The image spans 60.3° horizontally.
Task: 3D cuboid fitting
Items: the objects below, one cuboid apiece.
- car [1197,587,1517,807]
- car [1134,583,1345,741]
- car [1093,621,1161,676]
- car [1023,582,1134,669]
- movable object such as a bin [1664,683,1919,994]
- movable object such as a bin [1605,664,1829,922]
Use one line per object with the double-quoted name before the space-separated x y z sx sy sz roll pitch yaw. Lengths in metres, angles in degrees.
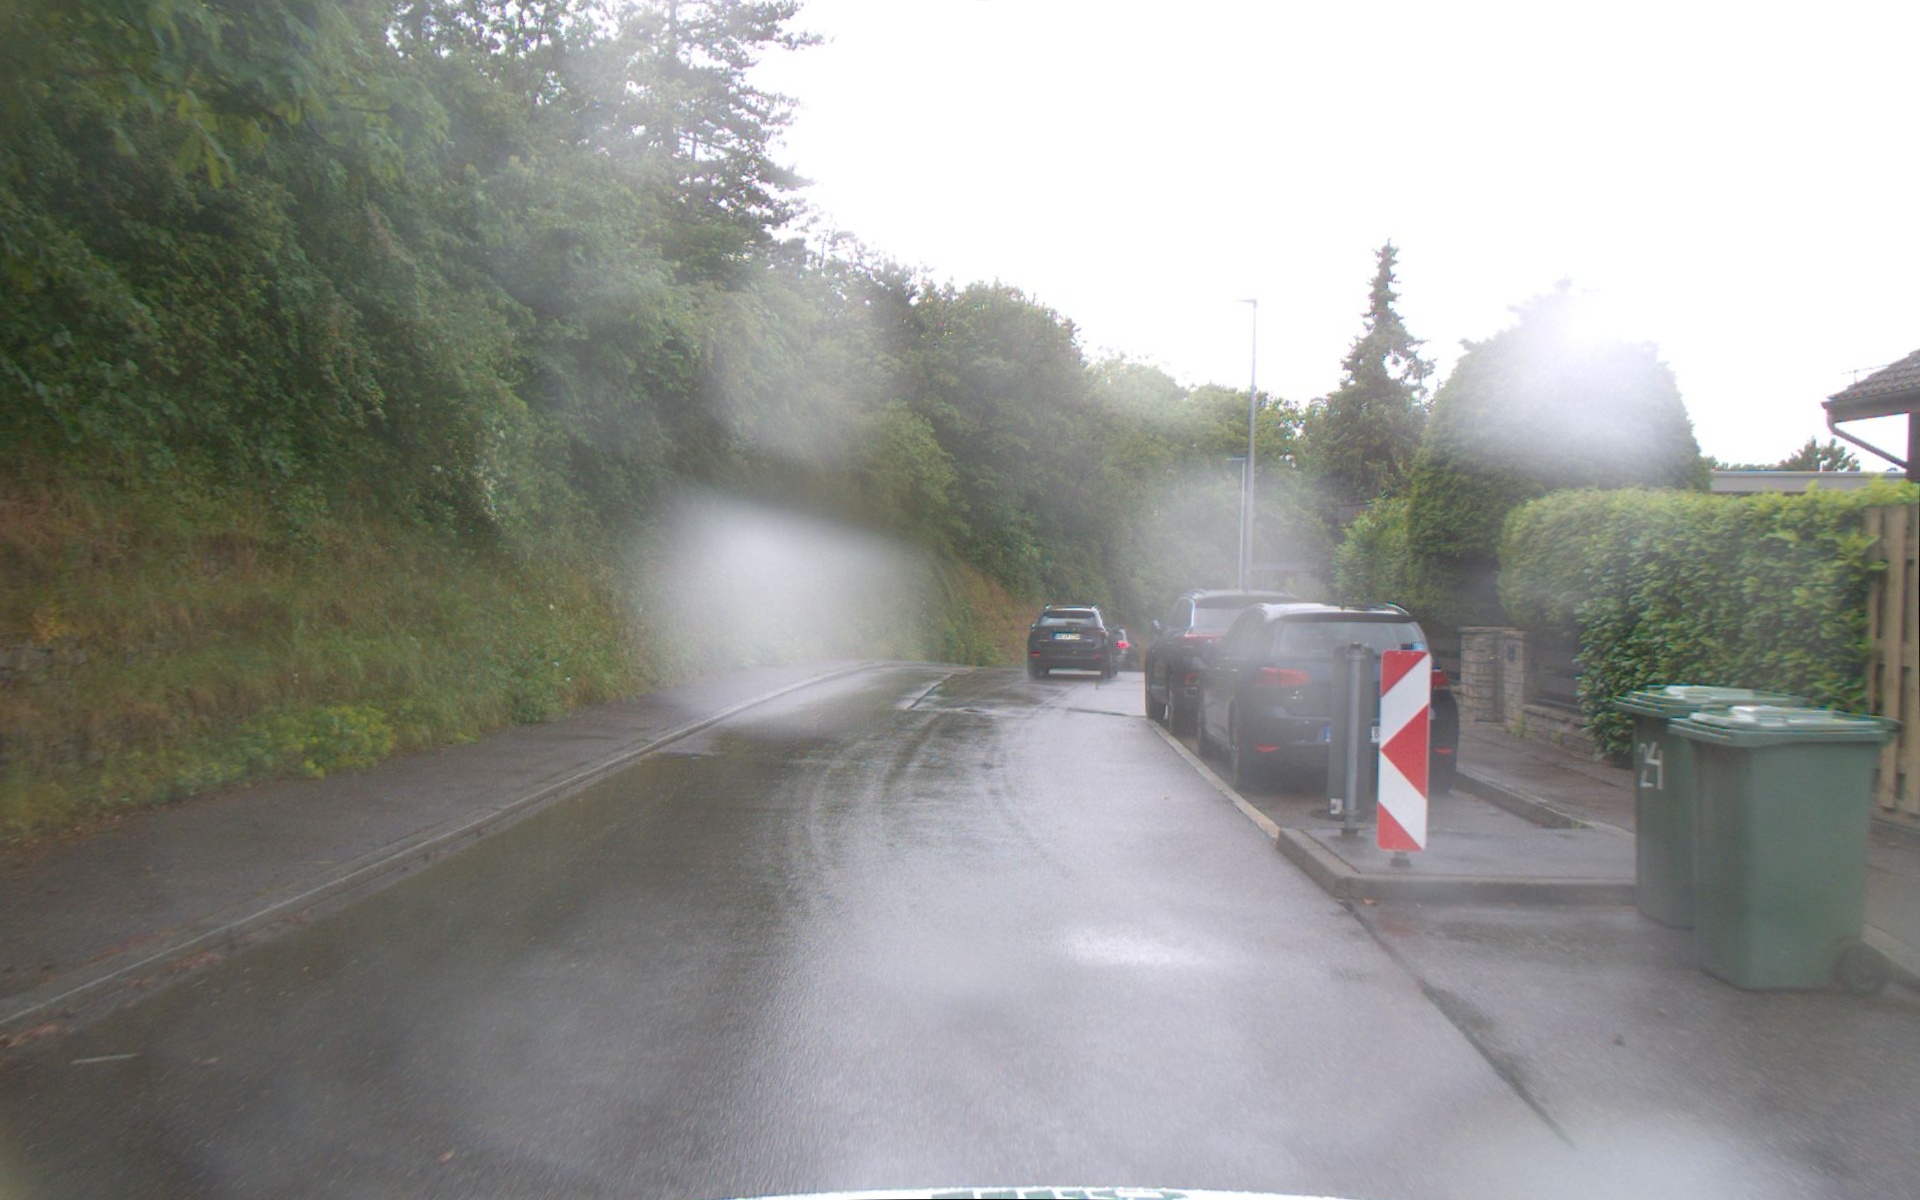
"car" 3.097 0.663 13.784 1.719 1.487 4.302 2 1 2
"car" 3.152 0.627 19.508 1.836 1.619 4.480 1 0 2
"car" 5.668 1.603 55.775 1.951 1.633 4.413 2 1 10
"car" 2.540 0.576 34.556 1.829 1.539 4.095 3 -3 10
"movable object such as a bin" 3.299 0.915 6.552 0.701 1.114 0.656 1 0 -3
"movable object such as a bin" 3.498 0.872 7.694 0.714 1.097 0.661 2 0 0
